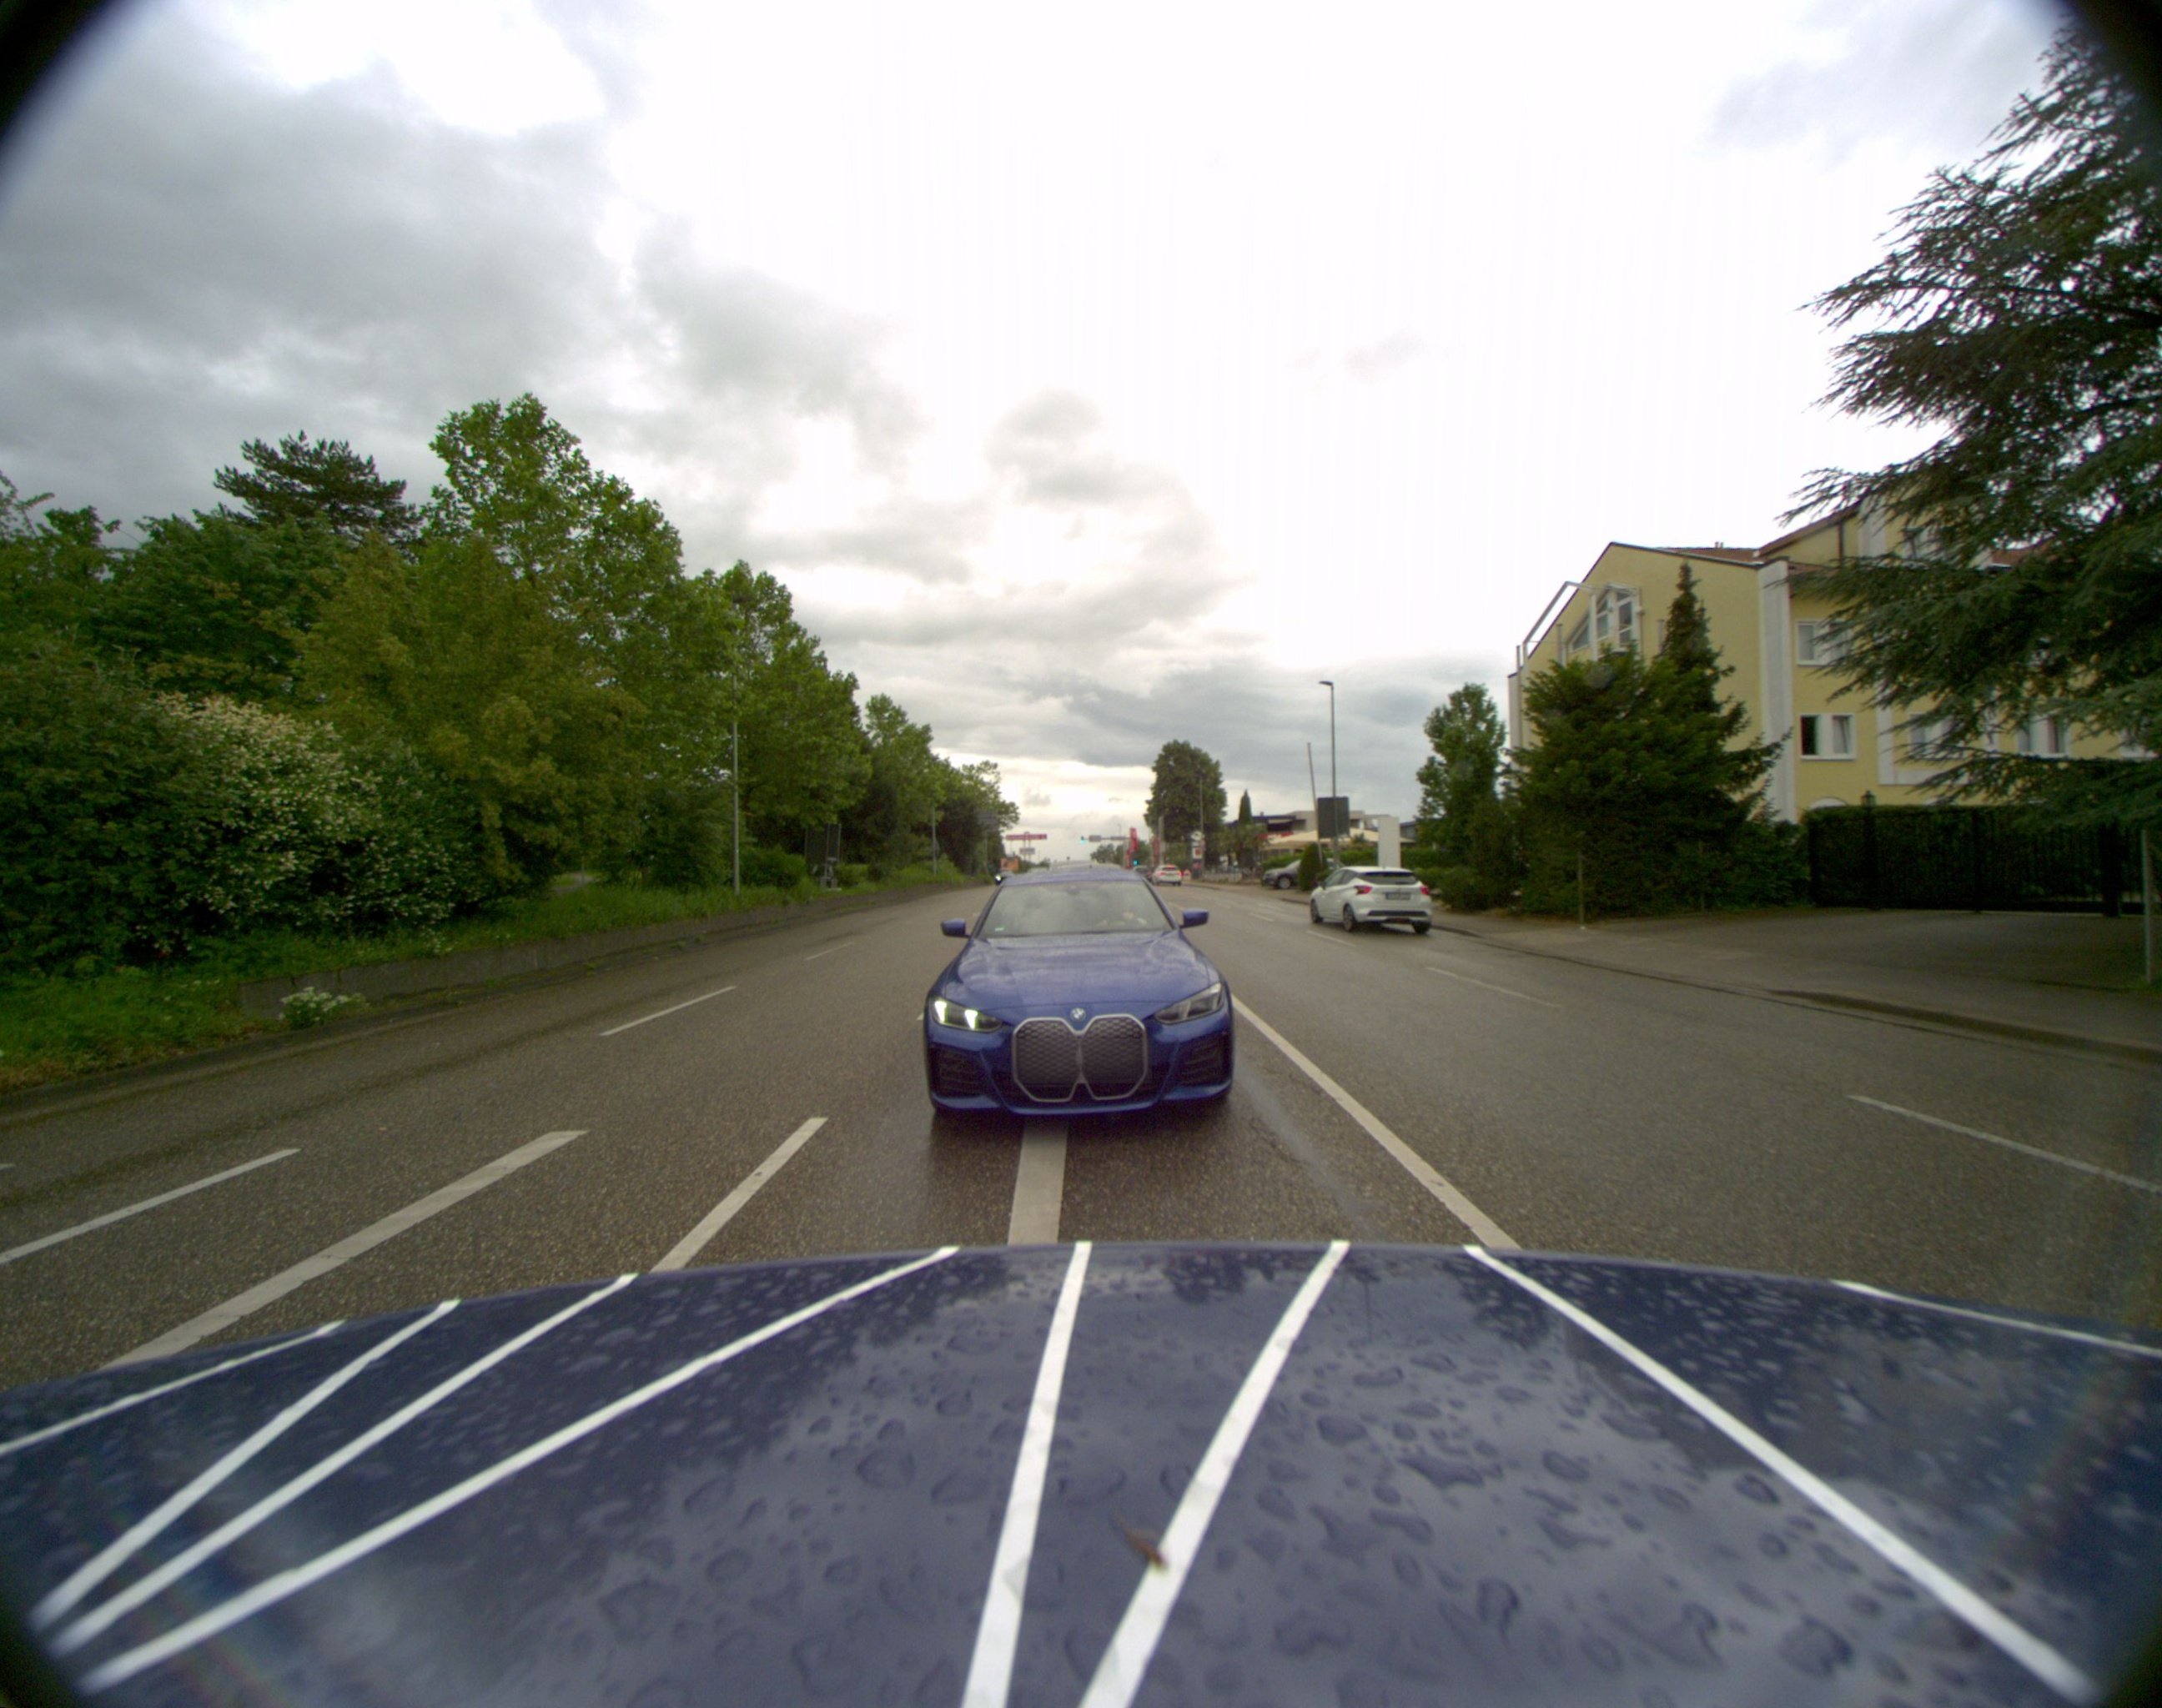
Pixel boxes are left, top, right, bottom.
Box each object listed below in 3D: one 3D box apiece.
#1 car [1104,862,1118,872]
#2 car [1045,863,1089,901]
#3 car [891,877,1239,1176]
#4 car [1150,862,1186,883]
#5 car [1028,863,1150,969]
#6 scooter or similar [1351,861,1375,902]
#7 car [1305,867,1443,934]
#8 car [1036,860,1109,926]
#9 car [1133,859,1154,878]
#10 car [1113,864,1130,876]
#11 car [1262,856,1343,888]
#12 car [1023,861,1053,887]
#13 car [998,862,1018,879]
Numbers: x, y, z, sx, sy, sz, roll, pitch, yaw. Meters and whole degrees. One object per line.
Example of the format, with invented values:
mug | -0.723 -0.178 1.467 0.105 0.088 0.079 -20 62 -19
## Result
car | 4.484 1.914 112.362 1.700 1.467 3.779 -3 0 -2
car | -0.550 1.172 32.745 1.775 1.448 4.000 -1 0 1
car | -0.082 0.973 6.137 1.803 1.399 4.272 -1 0 0
car | 6.280 1.349 55.481 1.973 1.446 4.308 0 0 -2
car | 0.139 0.960 13.520 1.807 1.543 4.223 -1 0 0
scooter or similar | 10.037 0.964 27.078 0.505 1.398 1.882 0 0 11
car | 6.652 1.006 17.716 1.750 1.388 3.802 0 -1 0
car | -0.199 0.988 20.877 1.807 1.543 4.000 -1 0 0
car | 5.895 1.377 72.417 1.703 1.590 3.549 -2 1 0
car | 5.219 2.077 97.652 1.790 1.451 4.431 -1 0 -3
car | 11.798 0.949 40.652 3.930 1.642 1.719 -1 0 6
car | -2.827 1.322 50.682 1.698 1.580 4.000 -1 0 1
car | -7.452 1.690 77.535 1.705 1.612 3.841 -3 0 -2
